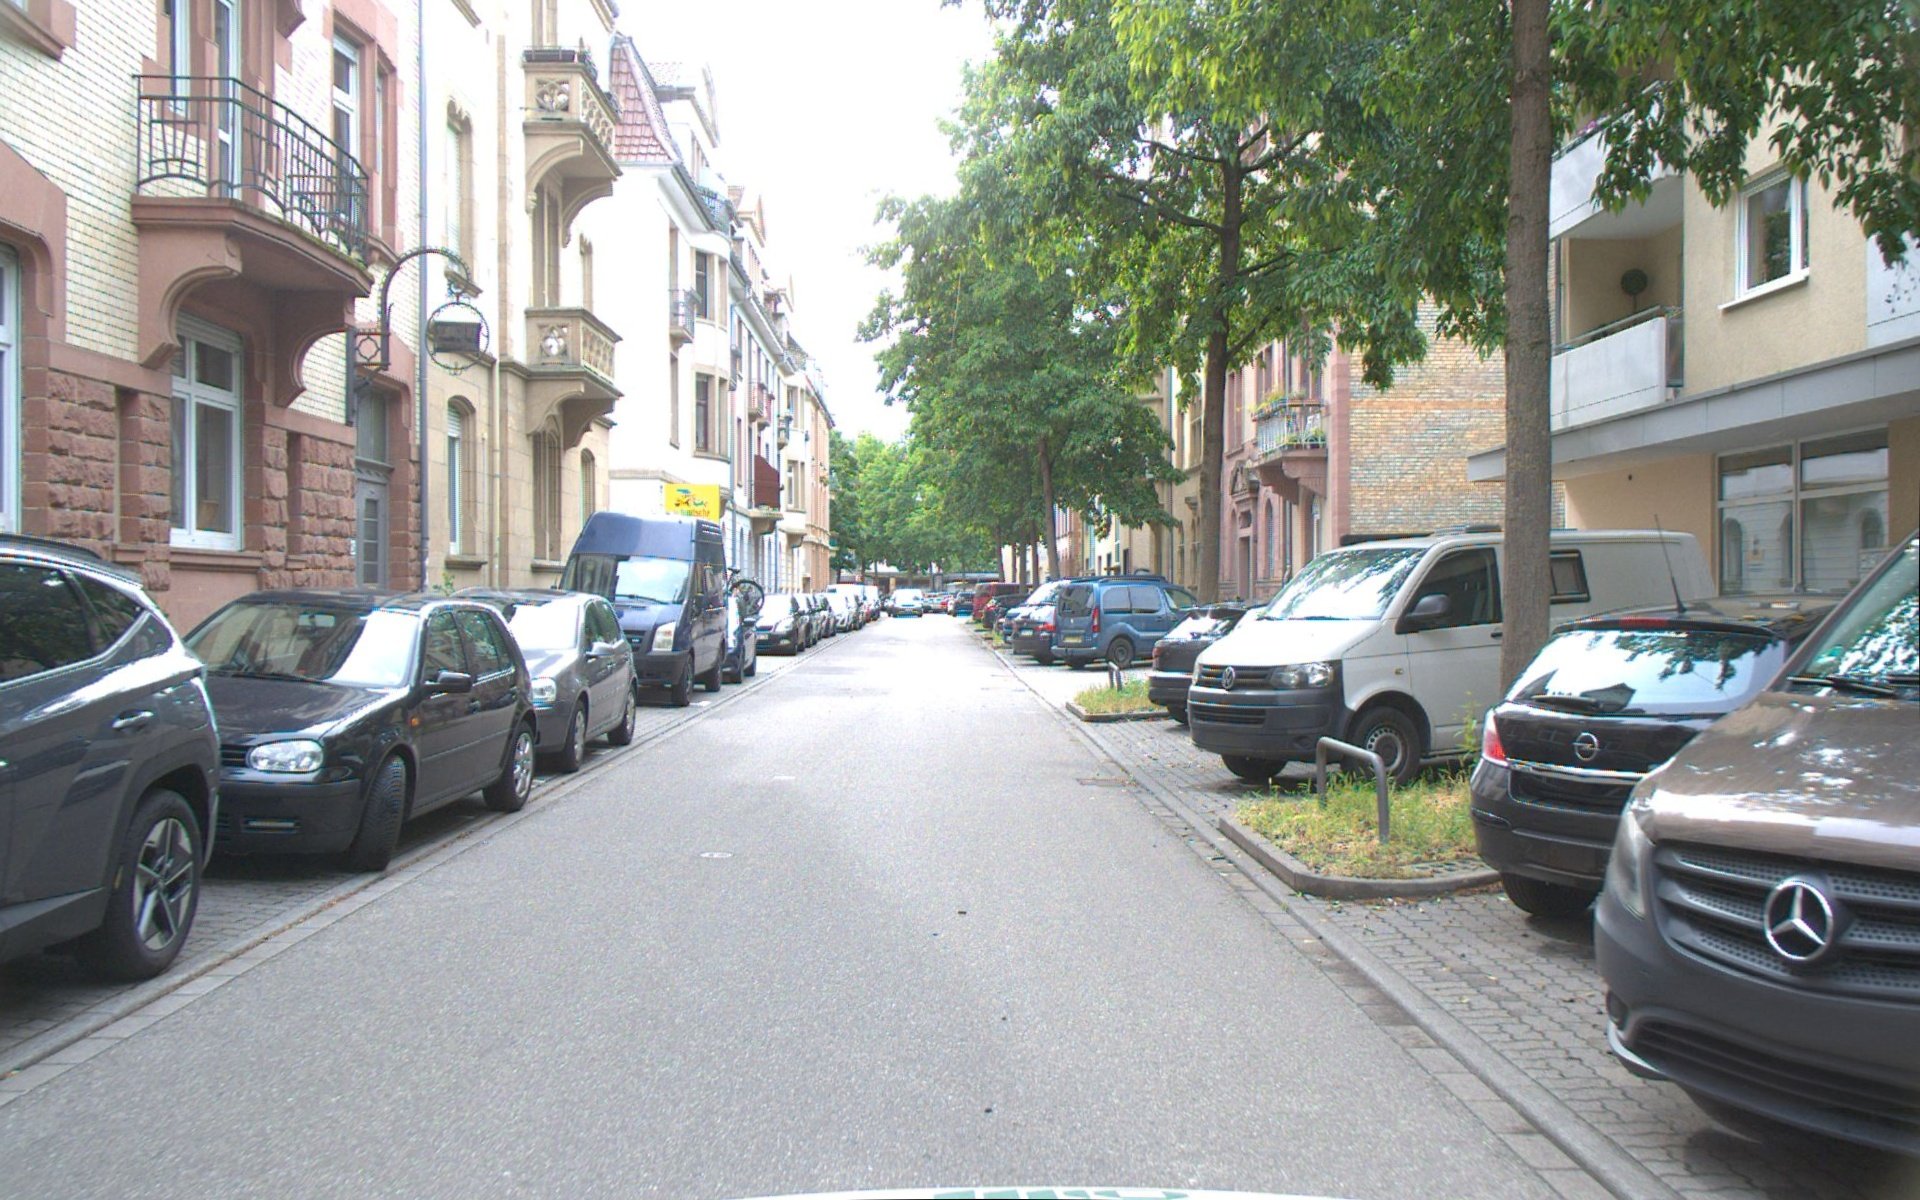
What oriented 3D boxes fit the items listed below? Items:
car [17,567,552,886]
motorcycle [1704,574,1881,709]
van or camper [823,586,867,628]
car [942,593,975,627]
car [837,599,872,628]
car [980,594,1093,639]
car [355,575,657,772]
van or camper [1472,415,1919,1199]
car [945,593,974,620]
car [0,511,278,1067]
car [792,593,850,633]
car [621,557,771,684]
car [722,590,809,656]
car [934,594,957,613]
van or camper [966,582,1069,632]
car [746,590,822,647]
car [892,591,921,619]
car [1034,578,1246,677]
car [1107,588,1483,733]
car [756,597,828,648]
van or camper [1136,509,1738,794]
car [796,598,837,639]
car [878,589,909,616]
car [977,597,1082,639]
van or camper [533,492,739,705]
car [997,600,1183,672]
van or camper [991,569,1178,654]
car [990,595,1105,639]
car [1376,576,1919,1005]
[{"bbox_3d":[-3.748,0.649,9.987,1.601,1.499,3.999,2,-1,-1],"label":"car"},{"bbox_3d":[8.859,0.418,17.719,0.664,1.323,2.252,-2,0,-2],"label":"motorcycle"},{"bbox_3d":[-5.542,0.324,80.057,1.843,2.002,4.406,0,0,-1],"label":"van or camper"},{"bbox_3d":[-0.099,0.648,108.488,1.953,2.049,3.999,3,0,-2],"label":"car"},{"bbox_3d":[-5.939,0.758,93.265,1.750,1.480,3.887,-3,0,-1],"label":"car"},{"bbox_3d":[2.624,0.553,57.250,3.689,1.490,1.727,-1,0,-7],"label":"car"},{"bbox_3d":[-3.910,0.612,14.910,1.634,1.499,3.999,2,-1,-1],"label":"car"},{"bbox_3d":[4.202,0.474,5.212,4.951,1.902,2.106,-2,0,-29],"label":"van or camper"},{"bbox_3d":[-0.056,0.464,119.078,1.953,1.825,3.998,2,-1,-2],"label":"car"},{"bbox_3d":[-3.749,0.549,4.826,1.750,1.675,4.360,2,0,-1],"label":"car"},{"bbox_3d":[-5.315,0.476,63.820,1.953,1.501,3.999,-1,0,-1],"label":"car"},{"bbox_3d":[-4.583,0.323,29.430,1.953,2.049,4.890,0,0,-1],"label":"car"},{"bbox_3d":[-4.756,0.546,40.911,1.753,1.506,4.021,1,0,-2],"label":"car"},{"bbox_3d":[-1.208,0.280,135.709,1.832,1.557,3.999,-1,0,-2],"label":"car"},{"bbox_3d":[2.503,0.285,71.720,4.101,2.122,1.934,-1,0,-29],"label":"van or camper"},{"bbox_3d":[-4.967,0.504,47.013,1.792,1.451,3.800,3,0,-2],"label":"car"},{"bbox_3d":[-3.434,0.335,106.159,1.784,1.674,3.752,2,-1,-2],"label":"car"},{"bbox_3d":[3.850,0.560,35.296,4.130,1.902,1.979,-2,-1,-31],"label":"car"},{"bbox_3d":[4.017,0.656,19.628,4.261,1.417,1.901,-2,0,-33],"label":"car"},{"bbox_3d":[-5.222,0.682,51.921,1.908,1.427,3.999,3,0,-2],"label":"car"},{"bbox_3d":[3.995,0.354,13.757,4.673,2.029,1.983,-1,-2,-27],"label":"van or camper"},{"bbox_3d":[-4.896,0.610,56.614,1.185,1.332,3.259,0,0,-2],"label":"car"},{"bbox_3d":[-4.610,0.167,115.623,1.869,1.707,4.000,3,0,0],"label":"car"},{"bbox_3d":[2.583,0.654,61.977,3.689,1.490,1.727,-1,0,-7],"label":"car"},{"bbox_3d":[-4.466,-0.026,23.675,1.967,2.698,5.314,0,0,-1],"label":"van or camper"},{"bbox_3d":[3.013,0.797,38.103,3.972,1.587,1.864,0,0,-32],"label":"car"},{"bbox_3d":[3.352,0.276,44.136,4.729,2.175,2.033,-1,0,-32],"label":"van or camper"},{"bbox_3d":[2.882,0.559,54.912,3.639,1.433,1.573,0,0,-7],"label":"car"},{"bbox_3d":[4.036,0.660,7.786,3.958,1.470,1.821,-2,0,-33],"label":"car"}]
